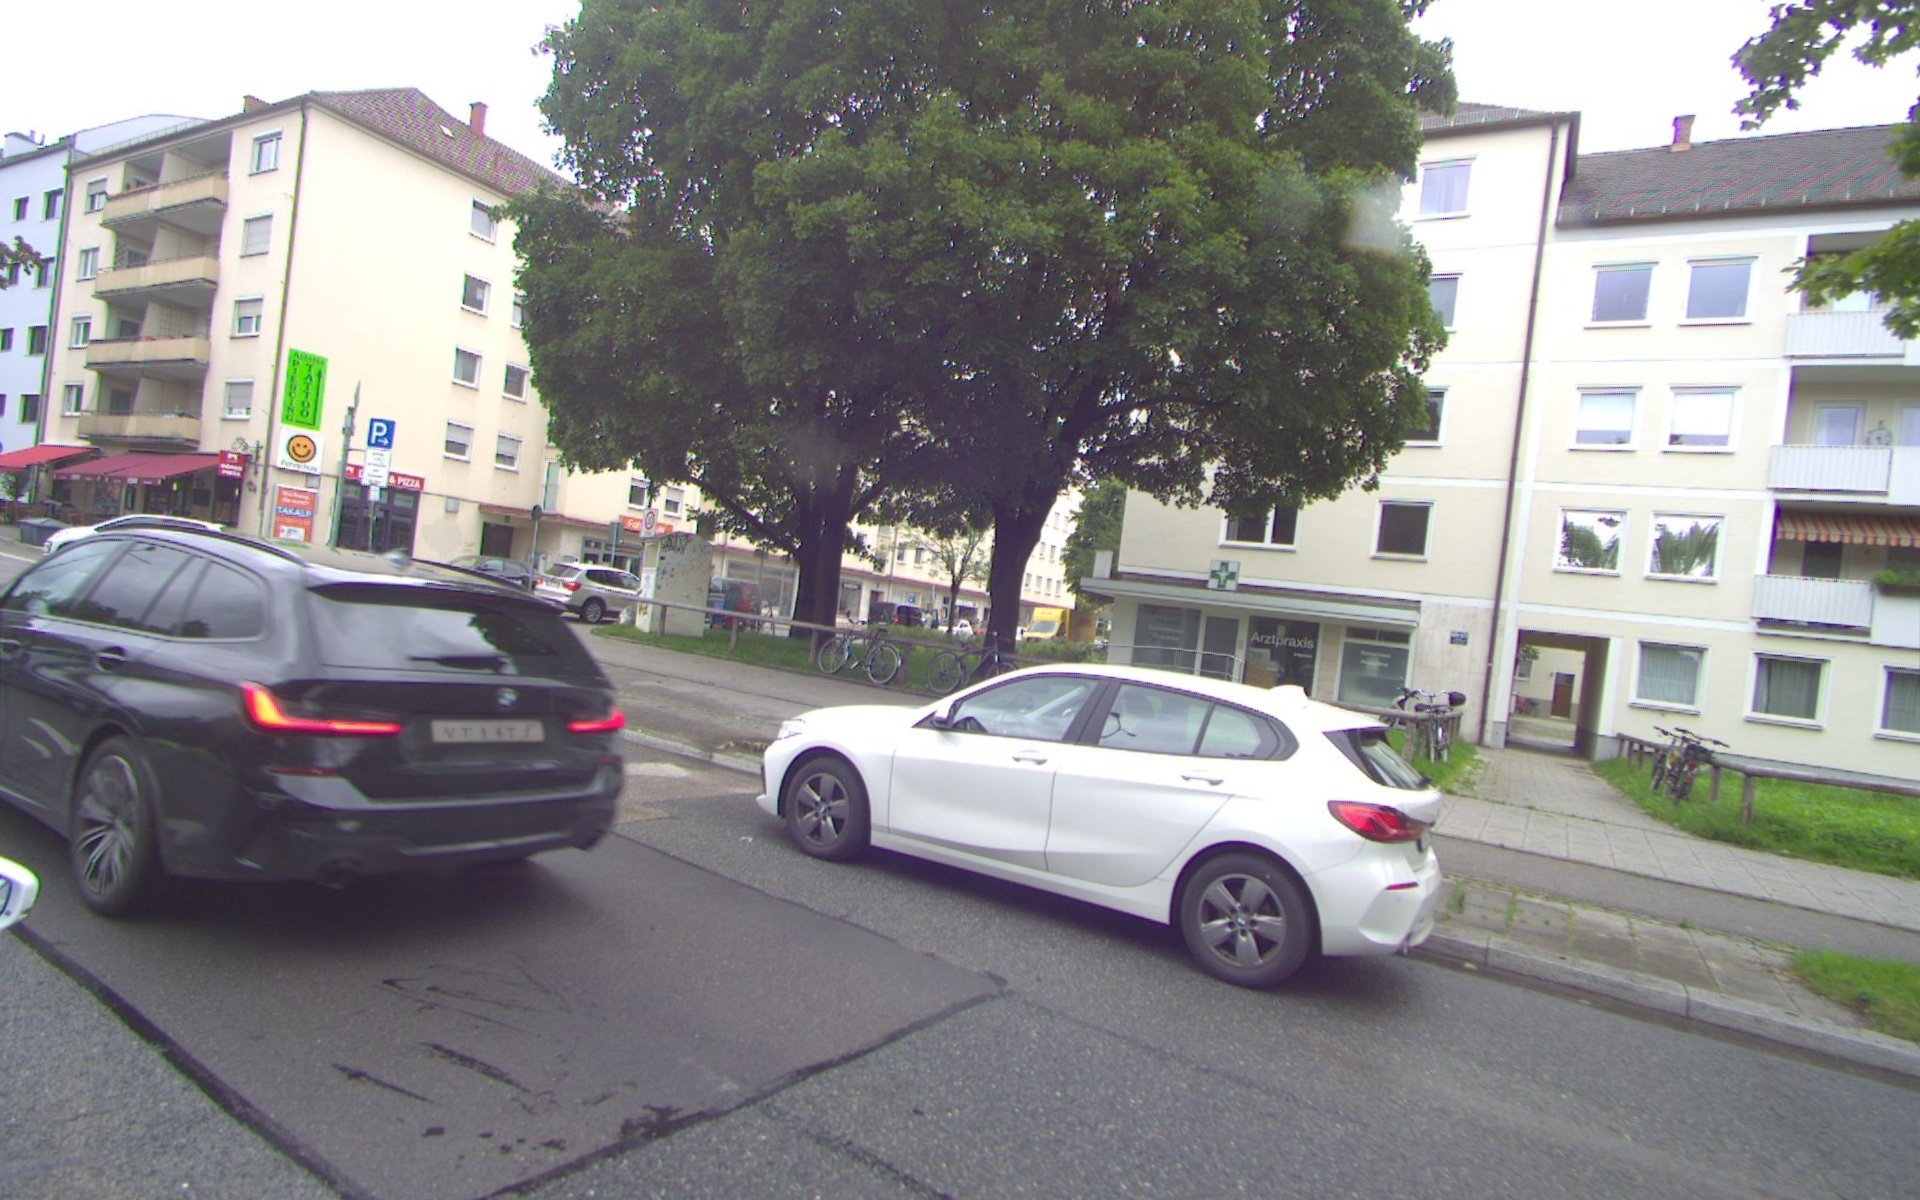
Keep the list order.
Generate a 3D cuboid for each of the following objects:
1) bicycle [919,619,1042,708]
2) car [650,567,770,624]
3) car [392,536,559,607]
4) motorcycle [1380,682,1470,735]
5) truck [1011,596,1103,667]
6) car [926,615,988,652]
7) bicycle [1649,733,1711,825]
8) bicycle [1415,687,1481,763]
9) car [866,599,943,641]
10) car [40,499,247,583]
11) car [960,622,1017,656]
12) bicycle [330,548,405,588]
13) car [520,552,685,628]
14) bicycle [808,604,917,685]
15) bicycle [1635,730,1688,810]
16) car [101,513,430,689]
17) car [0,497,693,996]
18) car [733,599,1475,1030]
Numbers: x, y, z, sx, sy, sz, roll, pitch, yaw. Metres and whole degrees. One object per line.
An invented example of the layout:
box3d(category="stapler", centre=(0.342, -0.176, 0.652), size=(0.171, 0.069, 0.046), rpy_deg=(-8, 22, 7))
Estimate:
box3d(category="bicycle", centre=(0.294, 0.968, 15.528), size=(1.852, 1.116, 0.382), rpy_deg=(7, -1, 32))
box3d(category="car", centre=(-10.036, -0.134, 40.785), size=(1.840, 1.795, 4.742), rpy_deg=(7, 0, 30))
box3d(category="car", centre=(-15.059, -0.828, 31.552), size=(1.839, 1.681, 4.402), rpy_deg=(7, 0, 27))
box3d(category="motorcycle", centre=(11.668, 2.703, 25.263), size=(1.875, 1.035, 0.605), rpy_deg=(7, -1, 32))
box3d(category="truck", centre=(5.583, 1.870, 56.745), size=(2.318, 3.282, 7.425), rpy_deg=(7, -2, 27))
box3d(category="car", centre=(-0.125, 2.003, 59.530), size=(1.839, 1.679, 4.088), rpy_deg=(7, -2, 27))
box3d(category="bicycle", centre=(8.941, 2.187, 12.528), size=(0.426, 0.985, 1.880), rpy_deg=(7, -2, 33))
box3d(category="bicycle", centre=(7.014, 1.779, 14.412), size=(0.549, 0.950, 1.880), rpy_deg=(7, -2, 33))
box3d(category="car", centre=(-2.922, 1.104, 54.096), size=(1.839, 1.679, 4.750), rpy_deg=(7, -2, 27))
box3d(category="car", centre=(-19.428, -1.387, 24.158), size=(3.524, 1.434, 1.856), rpy_deg=(8, 0, -32))
box3d(category="car", centre=(1.851, 2.480, 63.511), size=(1.839, 1.679, 4.088), rpy_deg=(7, -2, 27))
box3d(category="bicycle", centre=(-17.885, -0.954, 30.408), size=(0.548, 0.968, 1.851), rpy_deg=(7, -2, 30))
box3d(category="car", centre=(-10.673, -0.238, 30.401), size=(1.840, 1.681, 4.401), rpy_deg=(10, 1, 30))
box3d(category="bicycle", centre=(-1.630, 0.723, 16.705), size=(1.823, 1.118, 0.389), rpy_deg=(7, -1, 32))
box3d(category="bicycle", centre=(9.927, 2.377, 14.273), size=(0.426, 0.985, 1.880), rpy_deg=(7, -2, 33))
box3d(category="car", centre=(-7.940, -0.011, 11.446), size=(3.613, 1.482, 1.621), rpy_deg=(7, -2, 31))
box3d(category="car", centre=(-3.641, 0.381, 5.027), size=(4.387, 1.429, 1.762), rpy_deg=(7, -2, 30))
box3d(category="car", centre=(0.779, 1.046, 6.214), size=(4.067, 1.481, 1.687), rpy_deg=(7, -3, 31))
